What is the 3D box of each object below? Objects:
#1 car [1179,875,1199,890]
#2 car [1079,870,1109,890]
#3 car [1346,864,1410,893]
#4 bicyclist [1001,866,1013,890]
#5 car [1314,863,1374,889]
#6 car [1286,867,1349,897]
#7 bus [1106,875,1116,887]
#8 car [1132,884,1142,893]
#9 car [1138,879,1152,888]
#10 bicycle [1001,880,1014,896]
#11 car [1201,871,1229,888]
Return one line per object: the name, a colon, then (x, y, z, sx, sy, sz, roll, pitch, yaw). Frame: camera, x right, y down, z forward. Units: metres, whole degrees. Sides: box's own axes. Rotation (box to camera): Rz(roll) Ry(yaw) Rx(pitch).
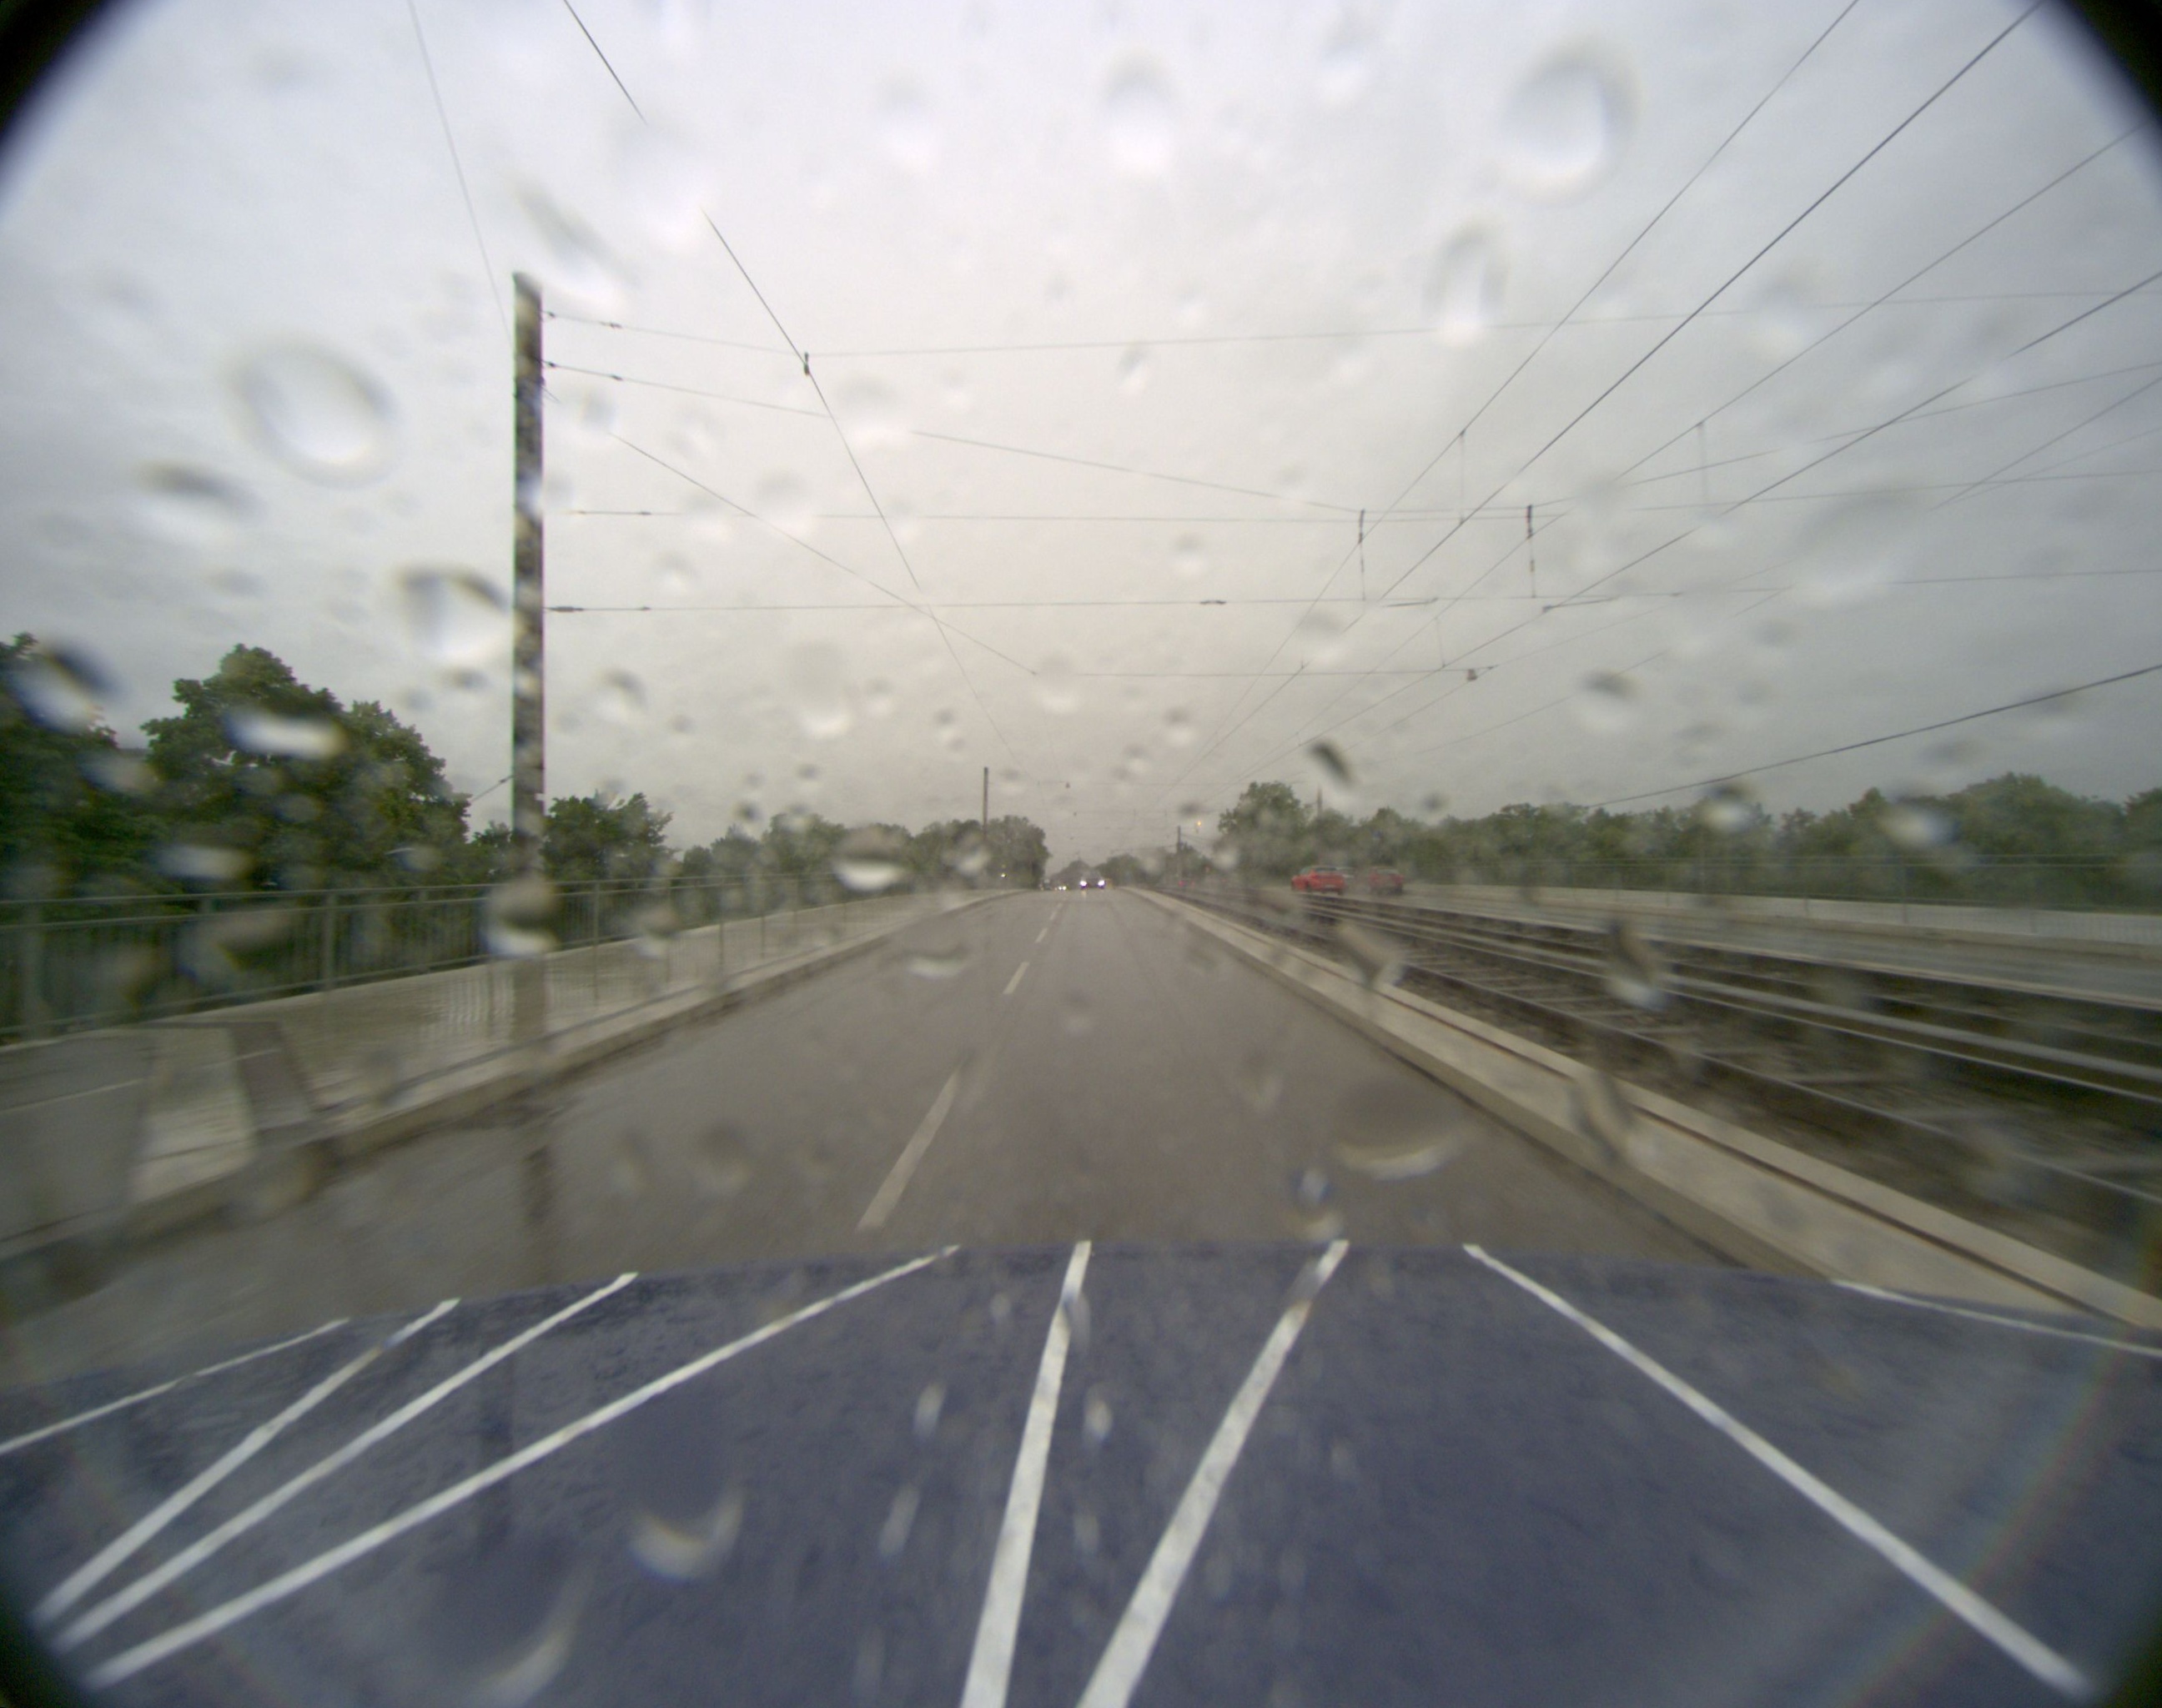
car: (12.846, 3.378, 90.729, 1.822, 1.644, 4.001, -3, -1, 1)
car: (1.006, 2.111, 60.536, 1.999, 1.496, 4.197, -2, -3, -4)
car: (15.409, 1.256, 39.693, 1.624, 1.447, 4.323, 1, -1, 0)
bicyclist: (-5.475, 1.800, 56.410, 0.727, 1.753, 0.949, -3, -1, 0)
car: (15.731, 1.326, 45.769, 1.999, 1.447, 4.621, 1, -1, 0)
car: (11.585, 1.340, 37.502, 1.804, 1.308, 4.085, -3, -1, 1)
bus: (9.211, 8.304, 233.744, 2.715, 3.319, 11.000, 1, -4, 0)
car: (12.598, 7.765, 171.377, 1.998, 1.706, 4.942, 1, -1, 0)
car: (12.283, 5.666, 145.436, 1.999, 1.500, 5.113, 1, -1, -2)
bicycle: (-5.440, 2.497, 56.417, 0.725, 1.122, 2.168, -3, -2, 1)
car: (12.312, 2.338, 69.920, 1.804, 1.473, 4.085, -3, -1, 1)
